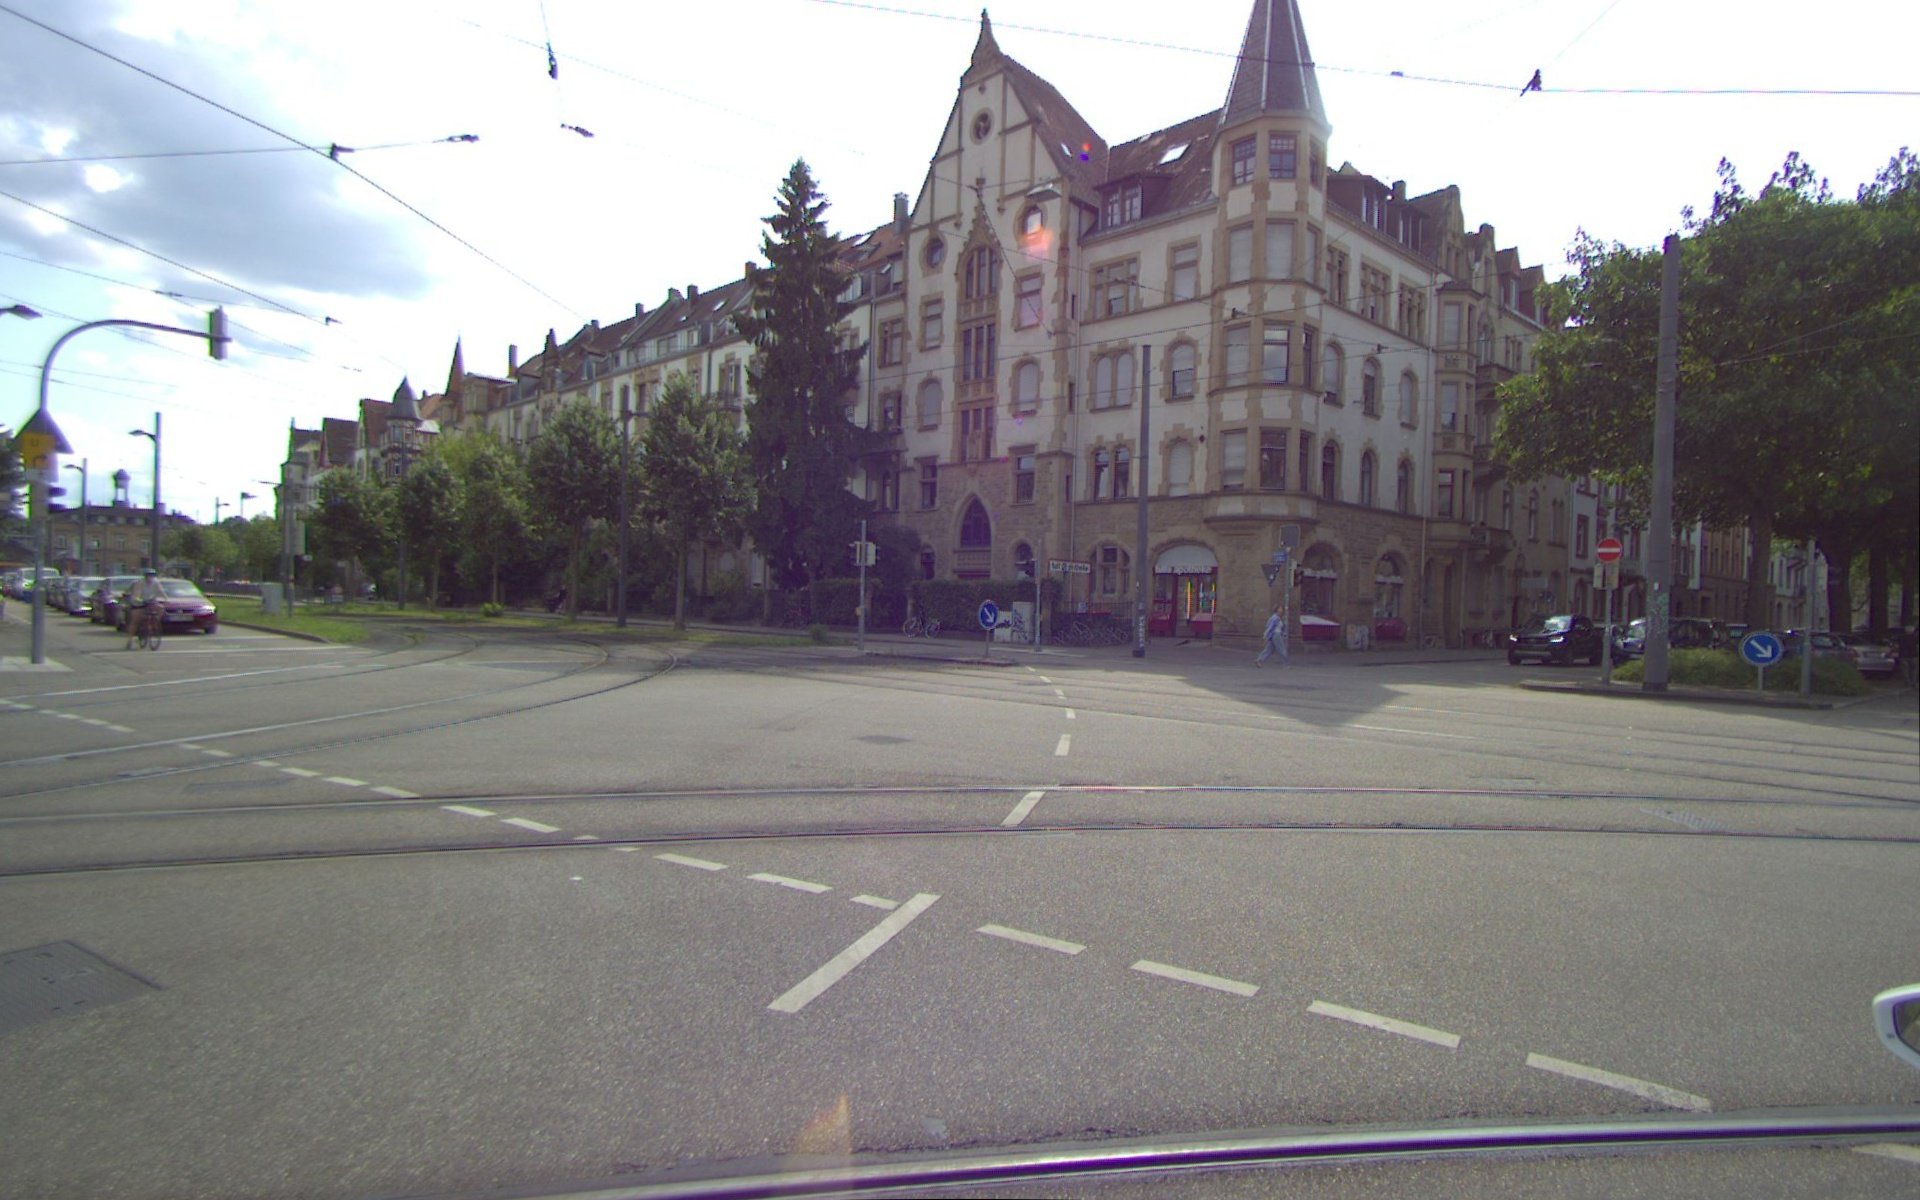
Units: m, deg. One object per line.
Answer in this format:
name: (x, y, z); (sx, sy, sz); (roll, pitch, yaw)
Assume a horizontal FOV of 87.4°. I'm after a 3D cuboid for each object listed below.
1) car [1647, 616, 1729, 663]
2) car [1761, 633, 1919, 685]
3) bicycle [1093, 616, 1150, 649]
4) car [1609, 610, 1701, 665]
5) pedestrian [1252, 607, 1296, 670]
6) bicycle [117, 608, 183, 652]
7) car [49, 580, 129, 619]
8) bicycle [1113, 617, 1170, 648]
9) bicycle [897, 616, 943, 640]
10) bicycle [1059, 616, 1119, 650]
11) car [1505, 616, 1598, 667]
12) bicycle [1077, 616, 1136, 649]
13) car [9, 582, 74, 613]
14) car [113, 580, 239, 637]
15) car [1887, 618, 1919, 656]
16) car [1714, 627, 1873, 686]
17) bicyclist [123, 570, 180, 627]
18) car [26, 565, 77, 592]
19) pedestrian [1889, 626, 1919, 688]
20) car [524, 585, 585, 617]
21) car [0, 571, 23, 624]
car: (27.290, 1.459, 37.617); (1.972, 1.639, 3.977); (1, -1, 43)
car: (27.413, 1.787, 31.452); (1.934, 1.357, 4.002); (2, 0, 10)
bicycle: (5.792, 1.161, 36.090); (1.892, 1.095, 0.775); (1, -1, 39)
car: (23.602, 1.251, 34.043); (1.972, 1.751, 3.977); (1, -1, 43)
pedestrian: (8.873, 1.079, 28.434); (1.003, 1.745, 0.776); (2, 0, 5)
bicycle: (-17.124, 0.625, 21.219); (2.116, 0.837, 0.714); (2, 0, 41)
car: (-32.419, -0.034, 37.343); (3.943, 1.305, 1.816); (2, 0, 43)
bicycle: (6.671, 1.193, 36.984); (1.892, 1.095, 0.775); (1, -1, 39)
bicycle: (-1.534, 1.061, 38.091); (1.892, 0.859, 0.468); (1, -1, 39)
bicycle: (4.377, 1.101, 34.124); (1.892, 1.095, 0.775); (1, -1, 39)
car: (20.731, 1.438, 35.152); (1.972, 1.639, 3.977); (1, -1, 43)
bicycle: (5.113, 1.132, 35.170); (1.892, 1.095, 0.775); (1, -1, 39)
car: (-41.194, -0.119, 45.036); (3.943, 1.305, 1.816); (2, 0, 43)
car: (-21.203, 0.205, 27.129); (3.939, 1.394, 1.882); (2, 0, 40)
car: (43.397, 1.669, 45.433); (3.472, 1.654, 1.737); (2, 0, -41)
car: (24.980, 1.641, 30.316); (1.934, 1.514, 4.002); (2, 0, 10)
bicyclist: (-17.081, -0.037, 21.213); (0.884, 1.162, 0.772); (2, 0, 40)
car: (-57.092, -1.331, 63.110); (3.943, 1.572, 1.989); (2, 0, 42)
pedestrian: (27.530, 1.655, 29.205); (0.490, 1.748, 0.647); (1, 0, -37)
car: (-23.984, 0.046, 59.327); (3.943, 1.817, 1.815); (0, -1, 43)
car: (-30.551, -0.120, 31.004); (3.939, 1.594, 1.882); (2, 0, 40)
